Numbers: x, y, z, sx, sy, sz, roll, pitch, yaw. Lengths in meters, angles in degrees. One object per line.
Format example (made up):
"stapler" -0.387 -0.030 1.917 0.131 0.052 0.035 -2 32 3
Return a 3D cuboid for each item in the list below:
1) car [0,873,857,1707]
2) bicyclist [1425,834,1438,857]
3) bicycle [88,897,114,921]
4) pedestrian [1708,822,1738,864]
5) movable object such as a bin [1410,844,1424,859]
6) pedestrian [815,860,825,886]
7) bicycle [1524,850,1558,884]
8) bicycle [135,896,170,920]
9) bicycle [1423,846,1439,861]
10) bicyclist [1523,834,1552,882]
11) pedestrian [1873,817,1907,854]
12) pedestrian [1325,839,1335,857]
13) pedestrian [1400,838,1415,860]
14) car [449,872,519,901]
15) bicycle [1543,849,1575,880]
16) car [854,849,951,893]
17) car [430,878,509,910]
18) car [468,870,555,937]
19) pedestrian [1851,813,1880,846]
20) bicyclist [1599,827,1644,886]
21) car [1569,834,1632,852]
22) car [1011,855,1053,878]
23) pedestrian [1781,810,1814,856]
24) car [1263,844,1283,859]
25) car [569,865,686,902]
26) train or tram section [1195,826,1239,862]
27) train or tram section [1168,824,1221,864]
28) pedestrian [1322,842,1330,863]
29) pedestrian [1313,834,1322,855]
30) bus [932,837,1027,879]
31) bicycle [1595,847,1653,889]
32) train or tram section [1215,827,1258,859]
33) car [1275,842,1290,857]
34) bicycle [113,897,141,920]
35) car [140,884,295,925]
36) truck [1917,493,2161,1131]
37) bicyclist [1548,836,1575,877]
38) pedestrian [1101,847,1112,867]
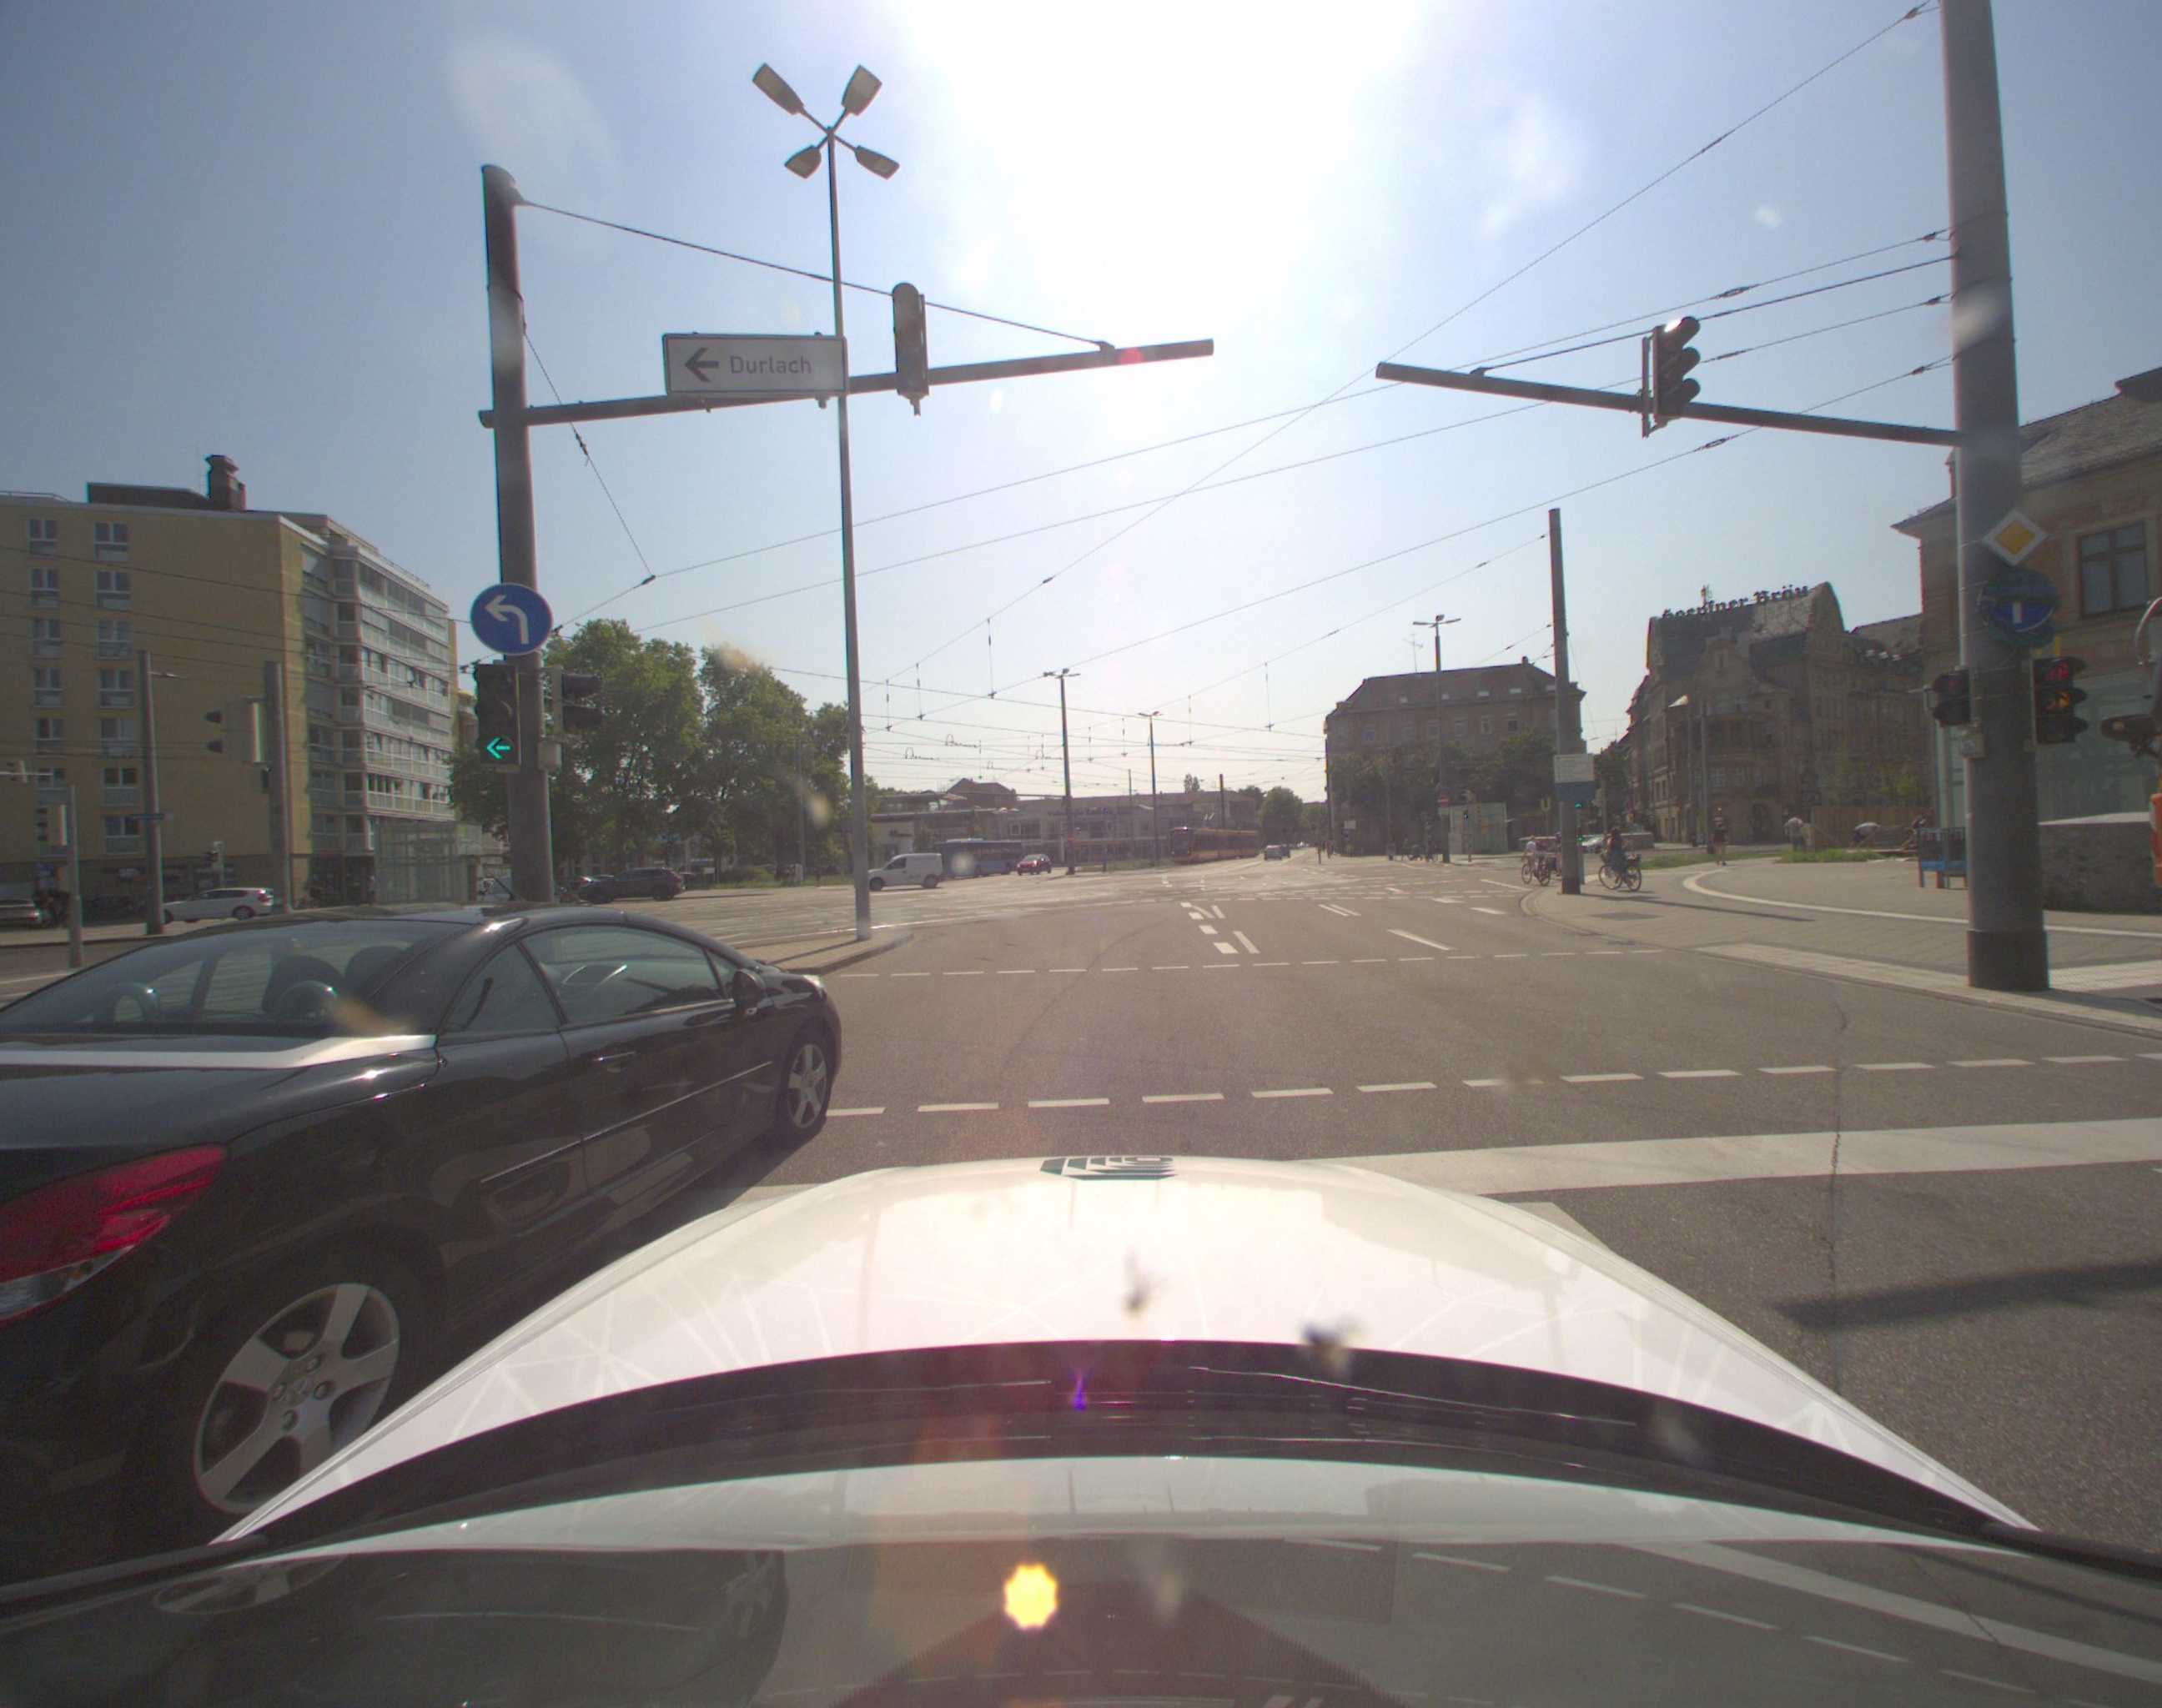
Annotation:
"car" -2.443 0.823 3.143 1.757 1.388 3.787 -1 0 6
"bicyclist" 24.455 -0.589 56.792 0.609 1.528 0.522 -2 0 3
"bicycle" -52.661 2.956 43.749 2.754 1.204 0.699 -3 0 36
"pedestrian" 24.425 -0.425 30.976 0.794 1.575 0.729 -2 0 -44
"movable object such as a bin" 25.070 -0.181 60.762 0.812 1.077 0.510 -2 0 -9
"pedestrian" -17.214 1.263 53.661 0.554 1.684 0.451 -2 0 -17
"bicycle" 14.888 0.408 26.385 0.532 1.055 1.660 -2 0 14
"bicycle" -50.249 2.892 44.070 3.220 1.204 0.916 -3 0 36
"bicycle" 24.447 -0.028 56.850 0.467 1.055 1.655 -2 0 3
"bicyclist" 14.906 0.129 26.599 0.623 1.517 0.715 -2 0 14
"pedestrian" 31.785 -0.721 31.988 0.768 1.399 0.687 -2 0 -23
"pedestrian" 22.612 -0.539 73.960 0.699 1.603 0.572 -2 0 -6
"pedestrian" 24.534 -0.373 61.251 0.849 1.545 0.527 -2 0 -6
"car" -47.528 2.580 64.918 3.994 2.013 1.921 -2 0 -15
"bicycle" 17.000 0.353 28.994 0.532 1.055 1.660 -2 0 14
"car" -9.234 0.855 42.140 4.627 2.013 1.986 -2 0 -21
"car" -43.661 2.825 58.262 3.994 2.013 1.921 -2 0 -15
"car" -15.477 1.279 22.176 1.747 1.560 4.163 -2 0 -35
"pedestrian" 30.123 -0.926 31.272 0.658 1.214 0.531 -2 0 30
"bicyclist" 14.438 0.068 21.757 0.730 1.517 0.665 -2 0 6
"car" 38.637 -0.818 60.619 4.002 1.090 1.986 -2 0 -22
"car" -3.790 0.954 63.456 1.735 1.552 4.020 -3 0 20
"pedestrian" 27.149 -0.794 30.850 0.549 1.724 0.812 -2 0 -39
"car" 19.523 -0.227 82.841 1.757 1.415 4.206 -2 0 15
"car" -22.030 1.399 39.743 4.624 1.505 1.987 -2 0 -19
"train or tram section" 14.853 -1.076 88.303 2.566 3.516 9.709 -2 0 21
"train or tram section" 11.105 -0.957 78.629 2.566 3.516 10.955 -2 0 21
"pedestrian" 36.197 -0.258 120.299 0.978 3.017 0.976 -2 0 6
"pedestrian" 33.750 -1.376 116.001 0.978 3.017 0.977 -2 0 8
"bus" -7.984 0.221 66.749 2.541 3.082 12.082 -3 0 19
"bicycle" 14.434 0.362 21.688 0.489 1.055 1.826 -2 0 7
"train or tram section" 19.043 -1.312 98.932 2.566 3.516 13.041 -2 0 21
"car" 23.081 -0.497 93.136 1.625 1.618 4.016 -2 0 14
"bicycle" -51.395 2.925 43.859 3.220 1.204 0.699 -3 0 36
"car" -37.084 2.152 35.123 4.199 1.415 1.765 -2 0 -18
"truck" 6.390 -0.217 1.727 2.481 3.134 6.869 -1 0 4
"bicyclist" 16.869 0.088 28.608 0.526 1.393 0.897 -2 0 14
"pedestrian" 1.849 0.217 58.682 0.678 1.443 0.364 -2 0 -15
